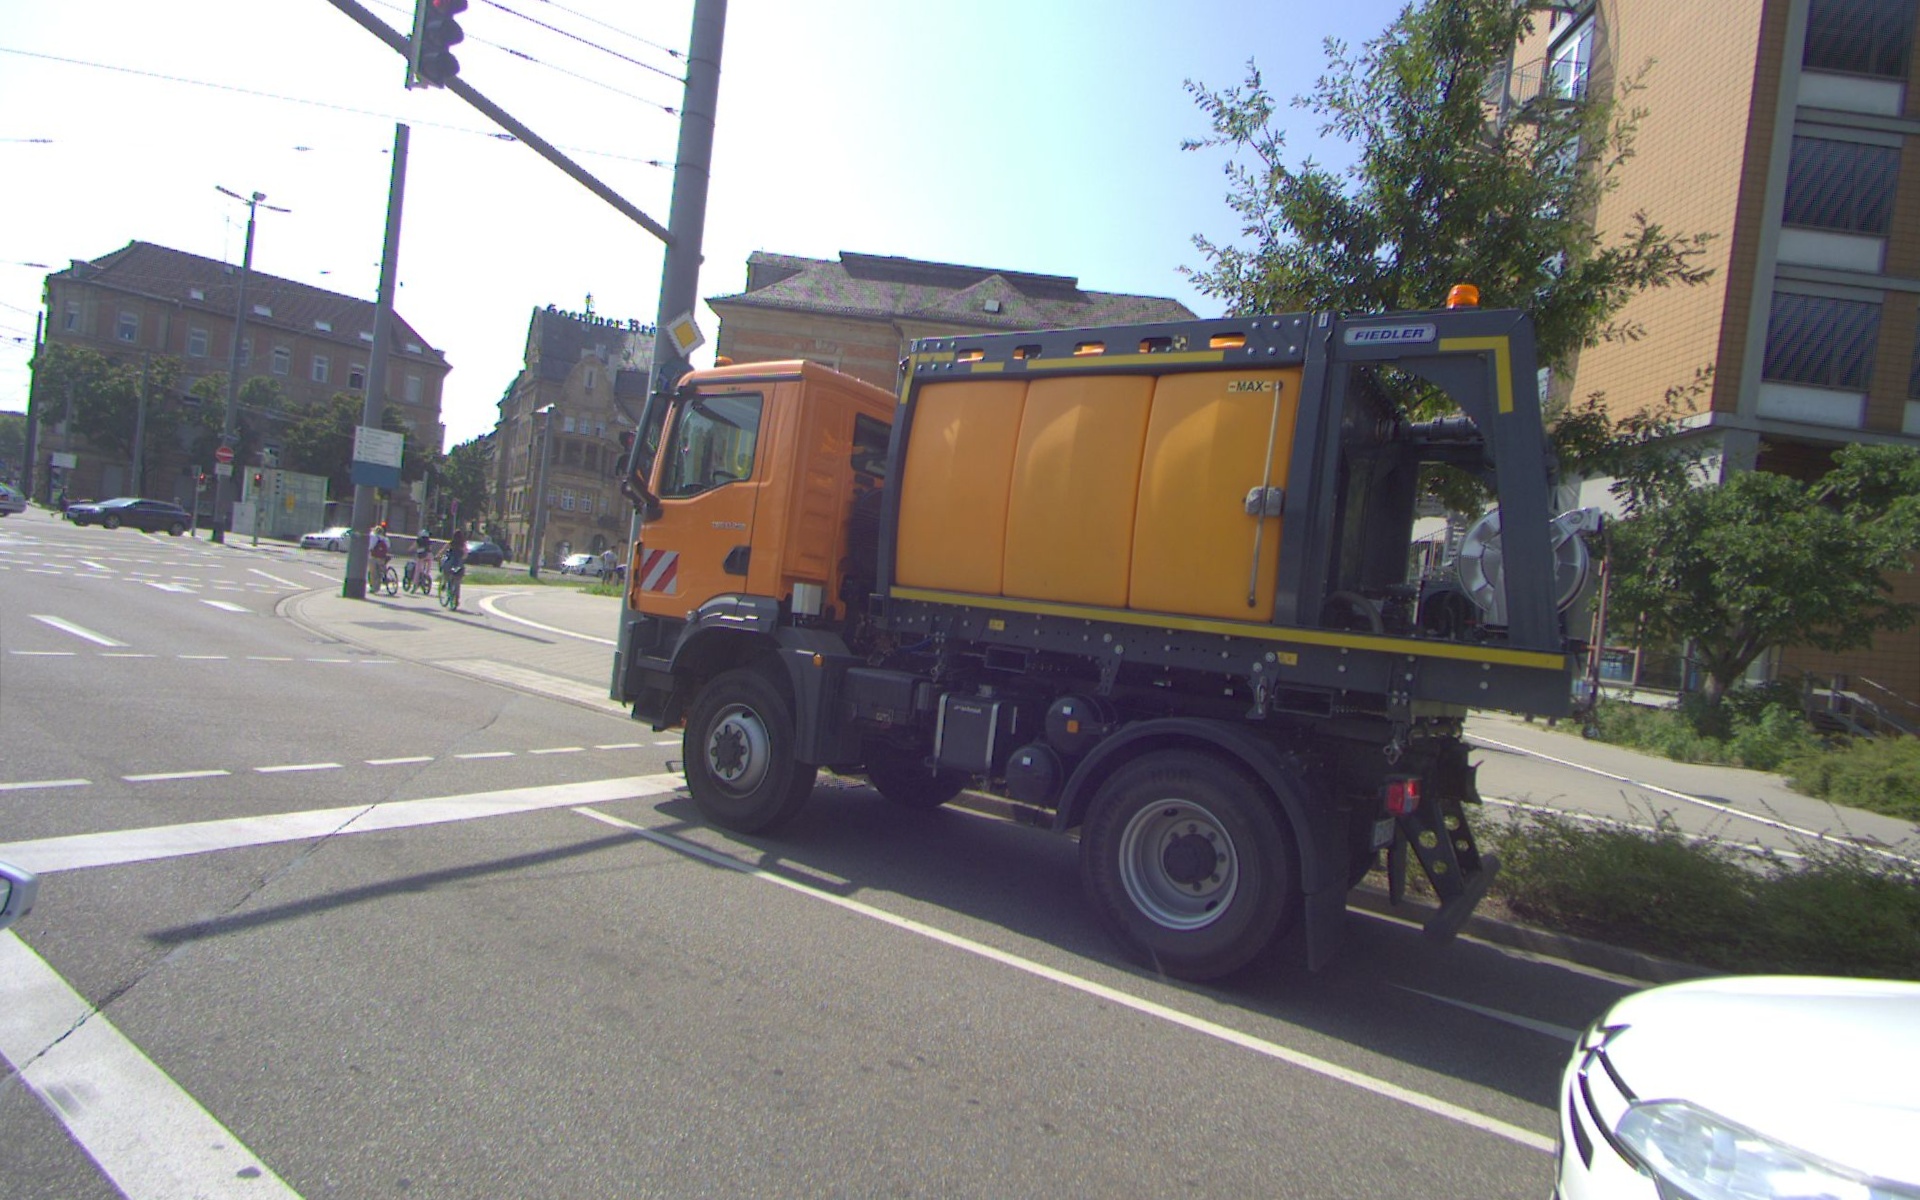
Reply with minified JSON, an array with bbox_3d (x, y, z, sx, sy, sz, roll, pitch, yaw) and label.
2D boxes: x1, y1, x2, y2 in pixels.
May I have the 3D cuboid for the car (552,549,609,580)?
[{"bbox_3d":[-30.848,-2.840,81.886,1.962,2.038,4.628,7,0,13],"label":"car"}]

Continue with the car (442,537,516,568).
[{"bbox_3d":[-32.072,-3.129,67.200,1.962,1.523,4.628,7,0,12],"label":"car"}]

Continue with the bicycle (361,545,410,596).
[{"bbox_3d":[-13.871,-0.722,24.265,1.632,1.068,0.535,7,1,45],"label":"bicycle"}]

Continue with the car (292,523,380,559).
[{"bbox_3d":[-34.259,-3.226,55.367,1.742,1.433,4.203,7,0,8],"label":"car"}]

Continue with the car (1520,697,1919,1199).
[{"bbox_3d":[3.267,1.177,1.123,4.535,1.446,1.770,7,0,33],"label":"car"}]

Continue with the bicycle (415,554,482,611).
[{"bbox_3d":[-11.281,-0.391,22.155,1.795,1.068,0.492,7,1,37],"label":"bicycle"}]

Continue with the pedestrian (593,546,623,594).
[{"bbox_3d":[-13.549,-1.166,38.735,0.808,1.746,0.546,6,1,-9],"label":"pedestrian"}]

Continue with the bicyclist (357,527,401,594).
[{"bbox_3d":[-14.130,-0.960,24.455,0.702,1.537,0.626,7,1,44],"label":"bicyclist"}]

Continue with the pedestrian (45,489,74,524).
[{"bbox_3d":[-43.956,-4.549,49.108,0.519,1.564,0.852,7,1,24],"label":"pedestrian"}]

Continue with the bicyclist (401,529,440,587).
[{"bbox_3d":[-14.069,-1.101,26.231,0.882,1.410,0.529,7,1,44],"label":"bicyclist"}]

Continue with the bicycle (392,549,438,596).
[{"bbox_3d":[-14.367,-0.732,26.516,1.632,1.068,0.535,7,1,45],"label":"bicycle"}]

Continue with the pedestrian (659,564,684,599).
[{"bbox_3d":[-12.527,-0.782,43.698,0.679,1.417,0.767,7,1,7],"label":"pedestrian"}]

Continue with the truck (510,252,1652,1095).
[{"bbox_3d":[0.287,0.076,6.691,6.751,3.171,2.495,7,-1,34],"label":"truck"}]

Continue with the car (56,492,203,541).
[{"bbox_3d":[-35.933,-3.562,43.700,1.742,1.433,4.771,7,0,13],"label":"car"}]

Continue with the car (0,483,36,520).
[{"bbox_3d":[-42.380,-4.430,42.719,4.127,1.433,1.768,7,0,-18],"label":"car"}]

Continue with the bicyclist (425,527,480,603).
[{"bbox_3d":[-11.125,-0.766,22.044,0.653,1.537,0.734,7,1,36],"label":"bicyclist"}]

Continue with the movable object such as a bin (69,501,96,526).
[{"bbox_3d":[-43.270,-4.247,49.618,0.502,1.091,0.815,7,1,21],"label":"movable object such as a bin"}]

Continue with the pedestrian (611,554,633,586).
[{"bbox_3d":[-13.806,-1.238,41.107,0.659,1.229,0.523,6,1,-30],"label":"pedestrian"}]
